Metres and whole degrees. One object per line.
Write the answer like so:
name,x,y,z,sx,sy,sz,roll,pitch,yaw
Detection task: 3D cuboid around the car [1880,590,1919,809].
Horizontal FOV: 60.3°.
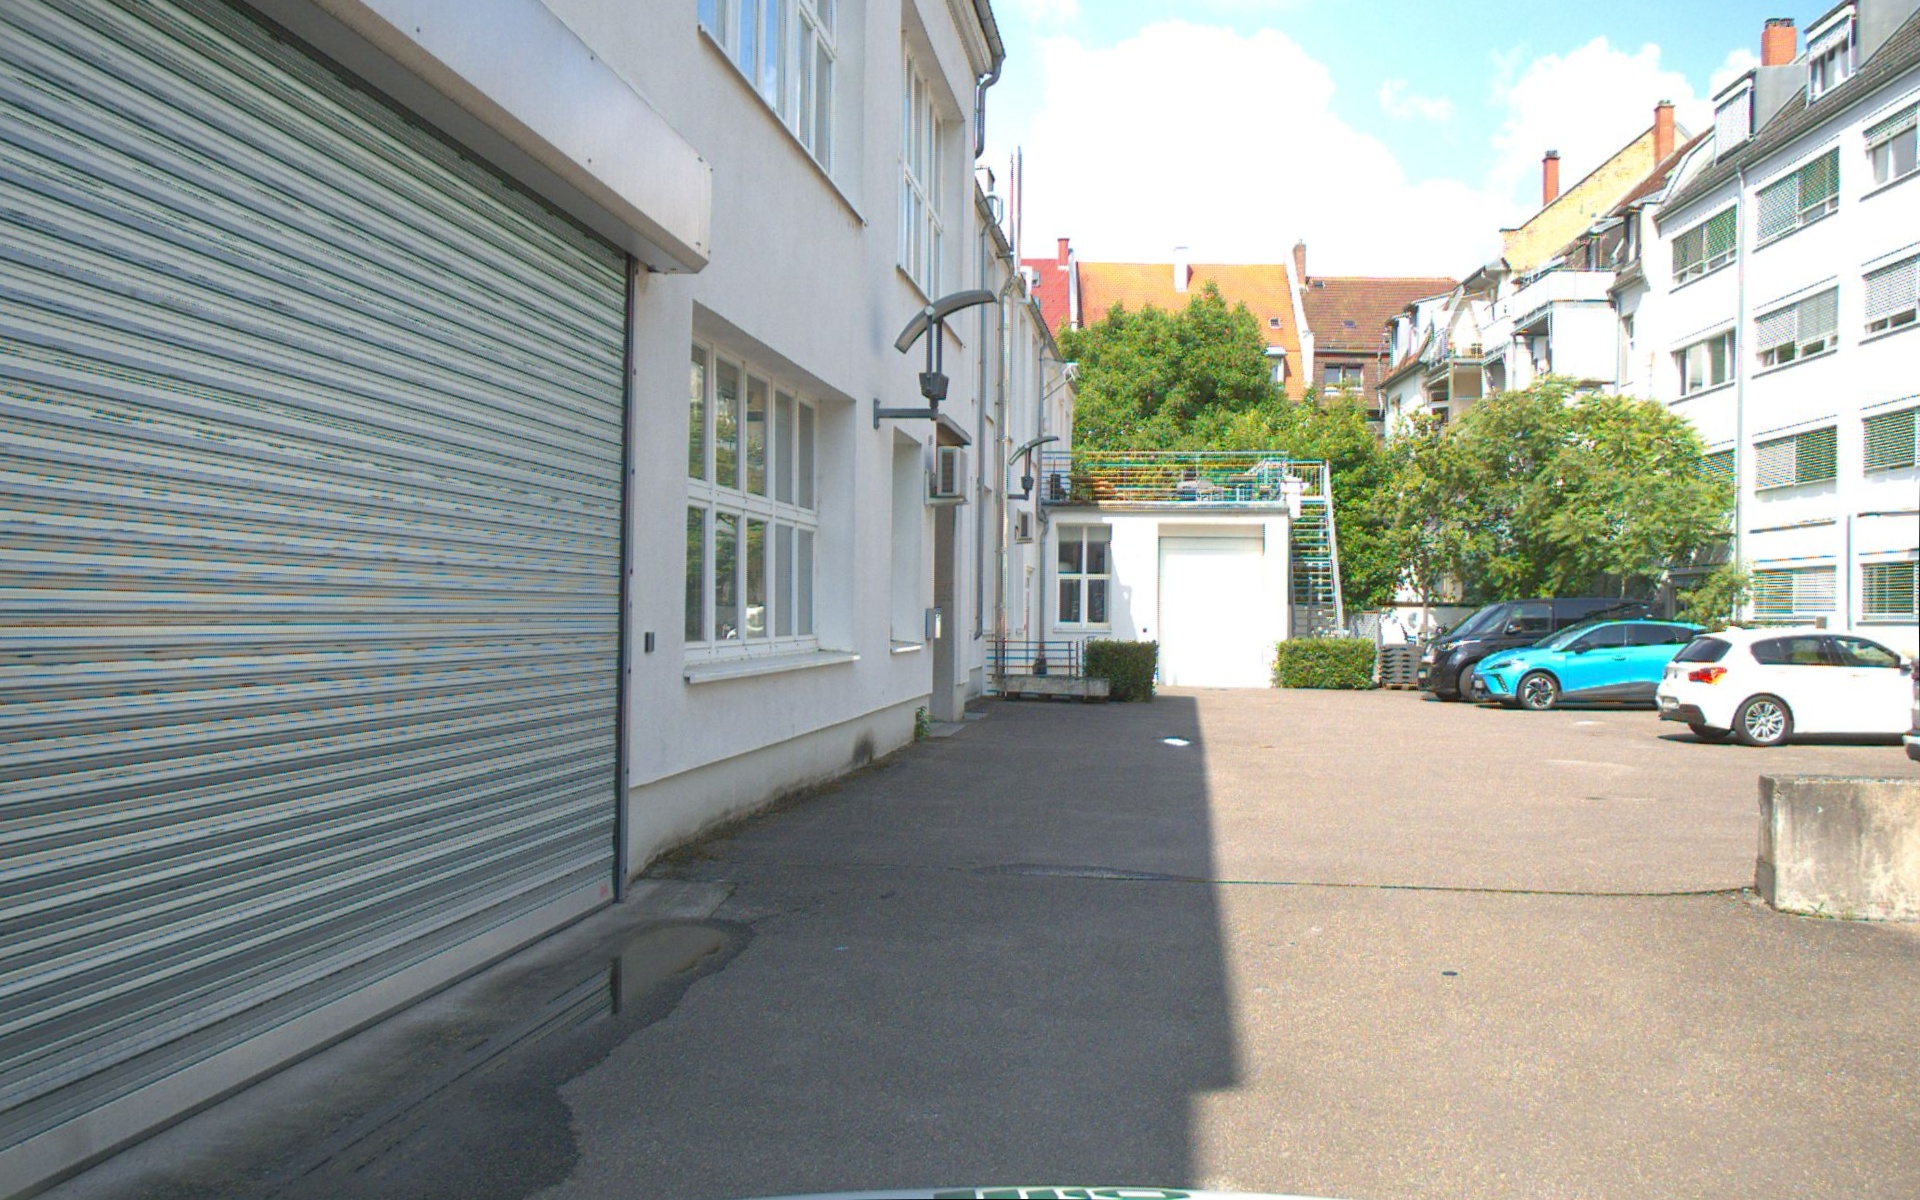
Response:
car,9.785,0.801,13.108,3.904,1.776,1.950,-1,1,2

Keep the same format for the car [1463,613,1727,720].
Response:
car,10.801,1.113,28.325,3.904,1.601,1.630,-1,2,2

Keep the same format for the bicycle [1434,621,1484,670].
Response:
bicycle,12.286,1.108,40.749,0.628,1.137,1.858,1,1,-1

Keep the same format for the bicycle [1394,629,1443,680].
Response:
bicycle,11.174,1.322,40.333,0.628,1.137,1.858,1,1,-1

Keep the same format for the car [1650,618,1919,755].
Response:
car,10.971,1.049,20.780,3.904,1.470,1.630,-2,2,2

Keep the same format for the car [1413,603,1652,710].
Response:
car,10.669,1.027,31.029,3.904,1.849,1.664,1,1,2
